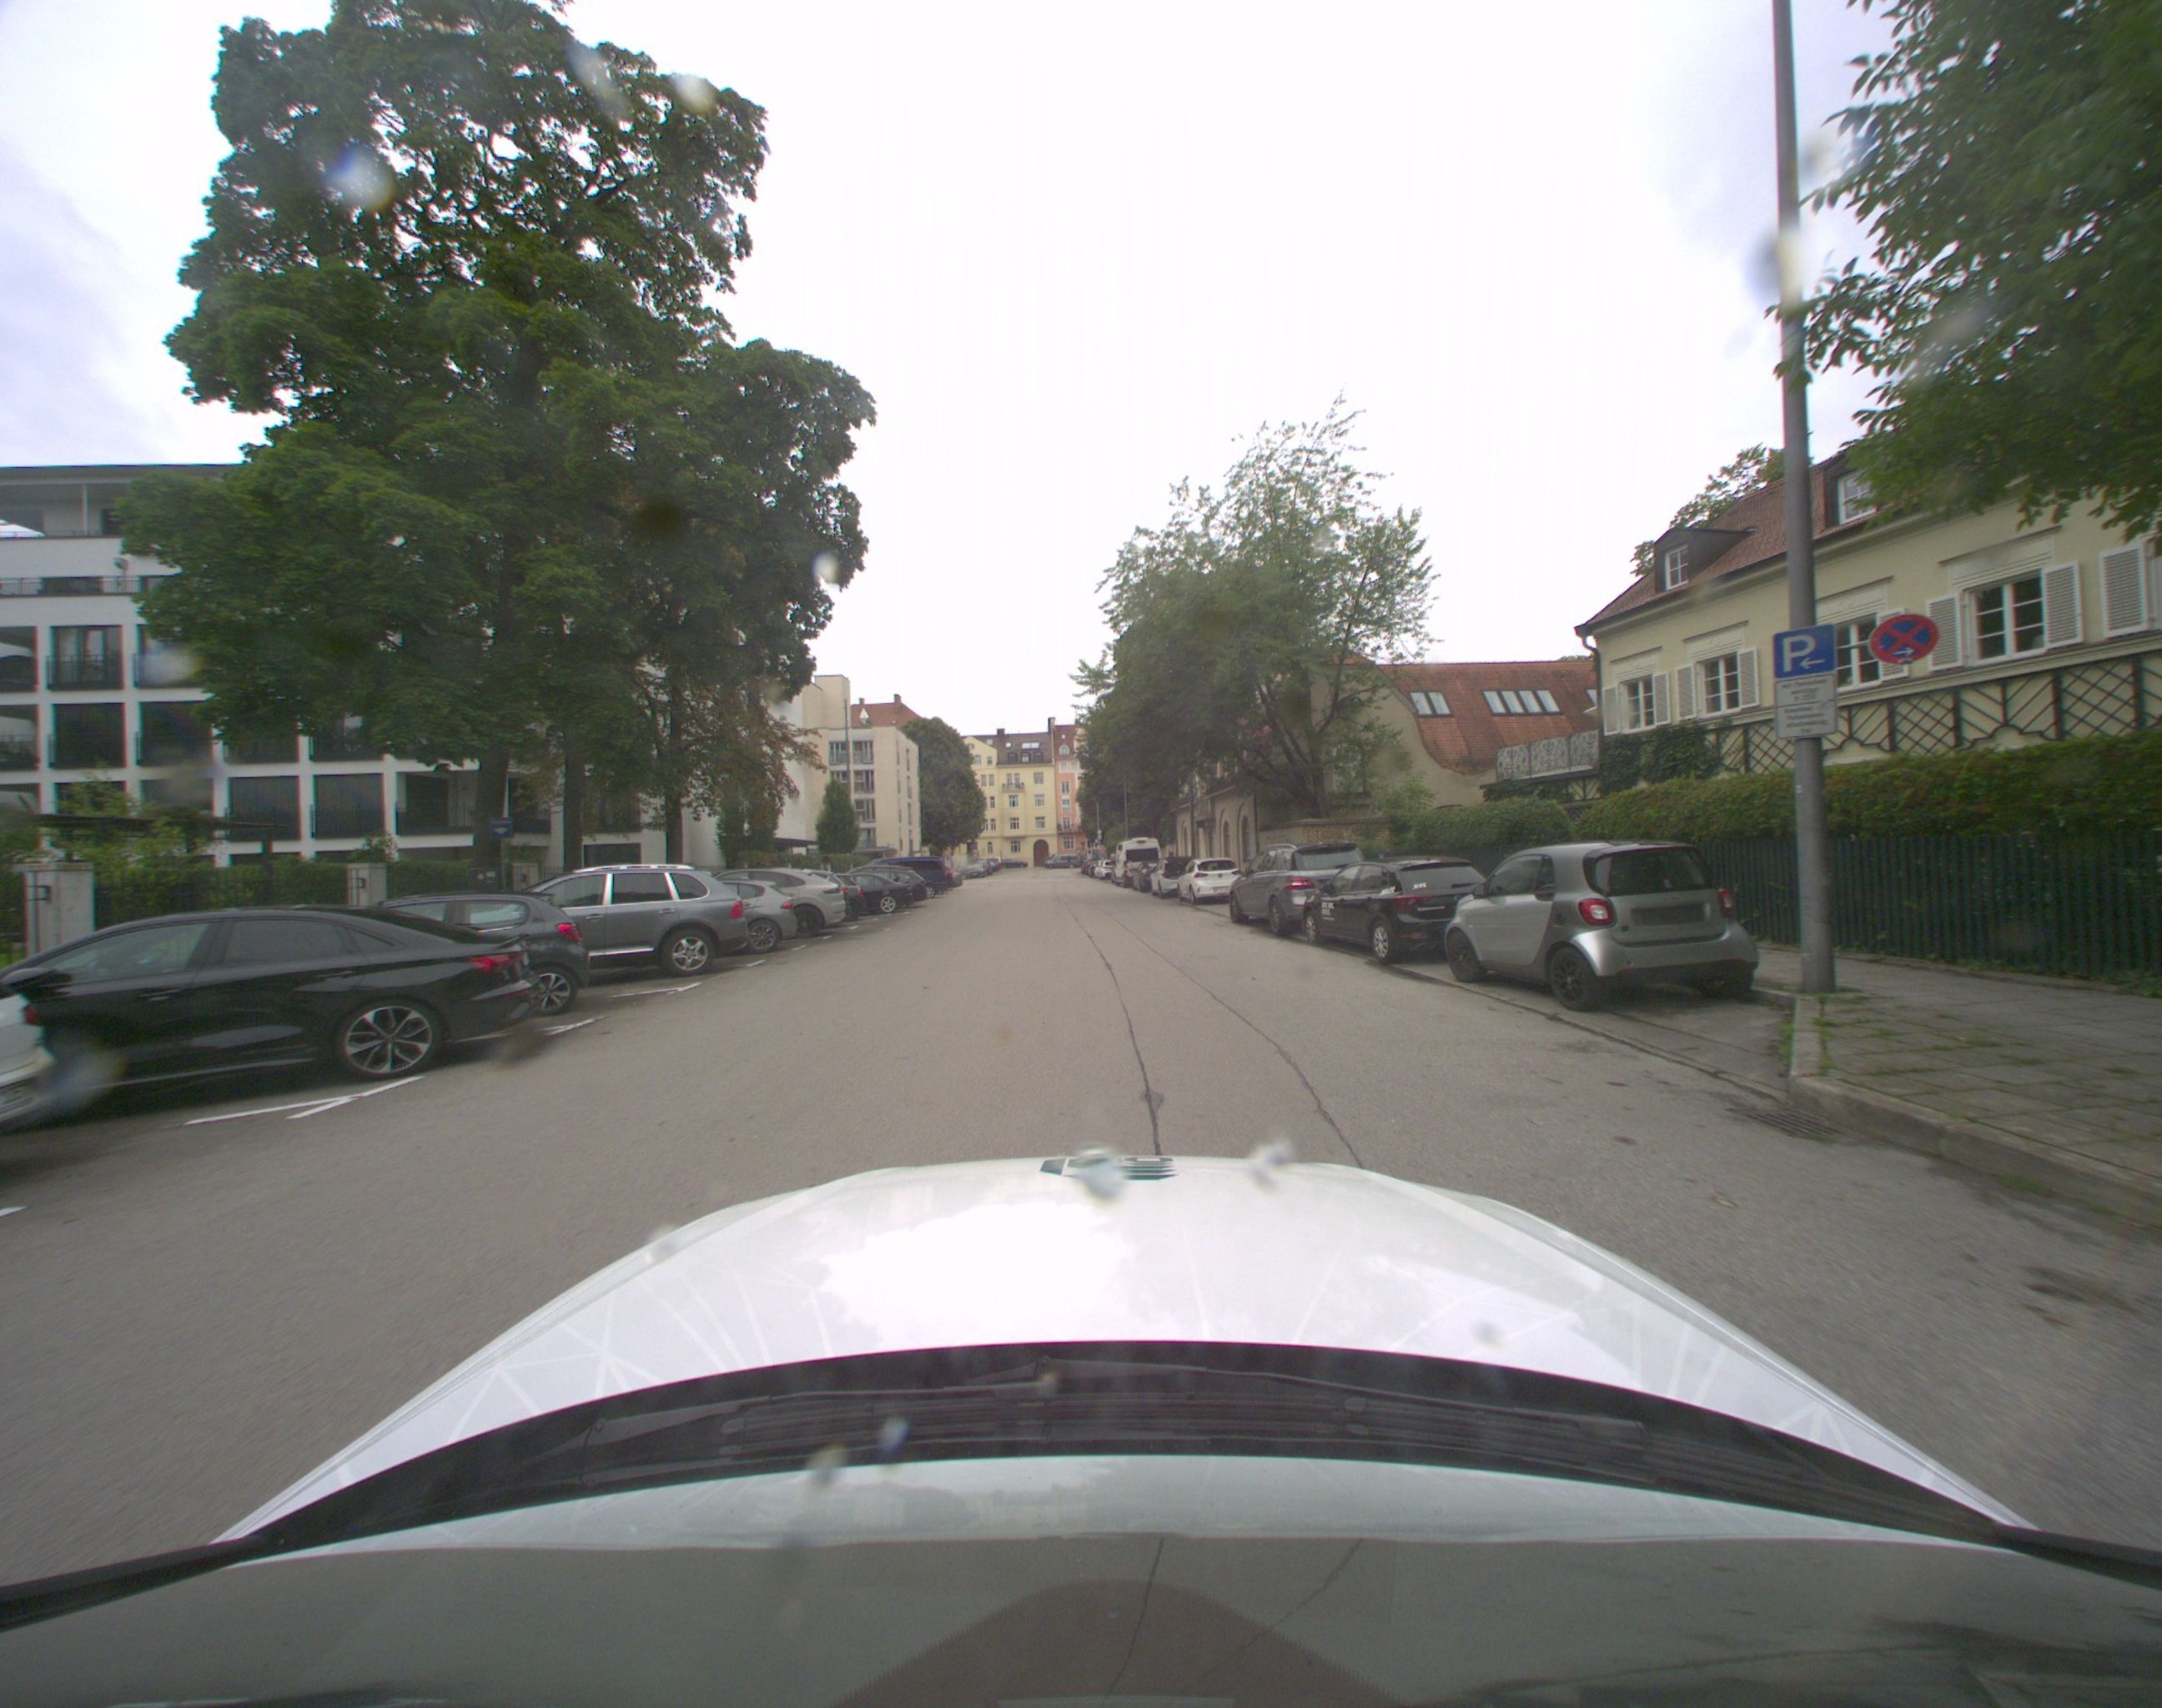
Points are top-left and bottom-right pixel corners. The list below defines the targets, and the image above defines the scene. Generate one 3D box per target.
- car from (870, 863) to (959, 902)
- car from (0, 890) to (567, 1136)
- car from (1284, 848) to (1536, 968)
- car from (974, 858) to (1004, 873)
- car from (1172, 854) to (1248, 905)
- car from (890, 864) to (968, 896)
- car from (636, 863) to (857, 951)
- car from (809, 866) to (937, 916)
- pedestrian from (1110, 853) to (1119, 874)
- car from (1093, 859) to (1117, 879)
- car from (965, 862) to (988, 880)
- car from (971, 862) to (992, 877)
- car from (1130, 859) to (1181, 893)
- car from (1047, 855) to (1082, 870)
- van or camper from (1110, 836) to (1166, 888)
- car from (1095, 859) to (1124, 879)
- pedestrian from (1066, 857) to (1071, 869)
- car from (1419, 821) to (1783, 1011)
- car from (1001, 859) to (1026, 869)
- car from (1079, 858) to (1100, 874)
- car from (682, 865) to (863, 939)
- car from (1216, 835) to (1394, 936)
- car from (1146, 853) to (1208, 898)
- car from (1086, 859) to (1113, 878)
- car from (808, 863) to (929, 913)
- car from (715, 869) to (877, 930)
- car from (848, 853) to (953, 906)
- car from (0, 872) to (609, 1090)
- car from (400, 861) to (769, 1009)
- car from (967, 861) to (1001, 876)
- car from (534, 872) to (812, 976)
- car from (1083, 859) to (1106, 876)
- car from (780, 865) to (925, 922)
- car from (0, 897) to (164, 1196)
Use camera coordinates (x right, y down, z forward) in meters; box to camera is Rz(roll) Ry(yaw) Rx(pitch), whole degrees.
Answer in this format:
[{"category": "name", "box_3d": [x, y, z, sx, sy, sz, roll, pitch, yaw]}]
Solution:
[{"category": "car", "box_3d": [-8.612, 1.452, 42.206, 4.136, 1.708, 1.719, -4, 0, -33]}, {"category": "car", "box_3d": [-6.931, 1.151, 6.763, 4.430, 1.439, 1.945, -2, -1, -34]}, {"category": "car", "box_3d": [4.833, 0.714, 12.745, 1.874, 1.427, 4.214, -4, 0, -5]}, {"category": "car", "box_3d": [-13.382, 1.654, 118.661, 3.979, 1.799, 1.838, -5, 0, -4]}, {"category": "car", "box_3d": [4.167, 0.808, 26.950, 1.681, 1.441, 3.996, -3, -1, -2]}, {"category": "car", "box_3d": [-9.035, 1.540, 48.404, 4.137, 1.609, 1.718, -4, 0, -35]}, {"category": "car", "box_3d": [-7.612, 1.145, 18.761, 4.419, 1.621, 2.069, -2, -1, -24]}, {"category": "car", "box_3d": [-7.534, 1.308, 29.511, 4.224, 1.461, 1.723, -4, 0, -24]}, {"category": "pedestrian", "box_3d": [3.220, 0.891, 78.756, 0.771, 2.013, 0.562, -2, -1, -3]}, {"category": "car", "box_3d": [1.985, 1.230, 67.945, 1.703, 1.466, 3.834, -4, 0, -2]}, {"category": "car", "box_3d": [-10.220, 1.673, 79.923, 1.830, 1.508, 3.996, -5, 0, -2]}, {"category": "car", "box_3d": [-11.044, 1.721, 90.733, 1.830, 1.508, 3.996, -5, 0, -2]}, {"category": "car", "box_3d": [3.411, 0.991, 37.845, 1.703, 1.369, 4.436, -4, 0, -3]}, {"category": "car", "box_3d": [-2.351, 1.201, 112.560, 4.696, 1.881, 1.837, -2, -1, -5]}, {"category": "van or camper", "box_3d": [3.030, 0.446, 44.699, 2.188, 2.550, 5.721, -4, 0, -3]}, {"category": "car", "box_3d": [2.166, 1.159, 63.011, 1.704, 1.408, 4.124, -4, 0, -4]}, {"category": "pedestrian", "box_3d": [-1.654, 1.215, 108.623, 0.463, 1.657, 0.571, -2, -1, -8]}, {"category": "car", "box_3d": [5.200, 0.565, 8.626, 1.736, 1.536, 2.940, -4, -1, -5]}, {"category": "car", "box_3d": [-11.162, 1.669, 134.560, 3.976, 1.586, 1.702, -2, 0, -2]}, {"category": "car", "box_3d": [0.808, 1.184, 82.538, 1.668, 1.344, 3.830, -4, 1, -6]}, {"category": "car", "box_3d": [-8.105, 1.194, 21.440, 4.227, 1.599, 1.869, -2, -1, -27]}, {"category": "car", "box_3d": [4.528, 0.588, 17.375, 1.991, 1.711, 4.875, -4, 0, -5]}, {"category": "car", "box_3d": [3.718, 0.813, 32.067, 1.703, 1.537, 4.236, -4, 0, -2]}, {"category": "car", "box_3d": [1.598, 1.254, 72.217, 1.801, 1.465, 3.829, -4, 1, -6]}, {"category": "car", "box_3d": [-8.339, 1.303, 32.044, 4.229, 1.609, 1.721, -4, 0, -28]}, {"category": "car", "box_3d": [-8.310, 1.273, 23.797, 4.227, 1.461, 1.777, -2, -1, -27]}, {"category": "car", "box_3d": [-8.202, 1.132, 37.085, 4.233, 2.066, 1.719, -4, 0, -32]}, {"category": "car", "box_3d": [-7.846, 1.132, 8.936, 4.431, 1.629, 1.944, -2, -1, -35]}, {"category": "car", "box_3d": [-7.357, 1.064, 12.423, 4.431, 1.699, 2.113, -2, -1, -35]}, {"category": "car", "box_3d": [-12.167, 1.802, 101.968, 3.979, 1.508, 1.838, -5, 0, -4]}, {"category": "car", "box_3d": [-7.638, 1.211, 15.394, 4.431, 1.491, 1.996, -2, -1, -35]}, {"category": "car", "box_3d": [1.283, 1.262, 77.641, 1.668, 1.344, 3.830, -4, 1, -6]}, {"category": "car", "box_3d": [-7.462, 1.252, 26.734, 4.234, 1.461, 1.719, -4, 0, -34]}, {"category": "car", "box_3d": [-7.792, 1.172, 3.569, 4.528, 1.509, 1.915, -5, 0, -27]}]
